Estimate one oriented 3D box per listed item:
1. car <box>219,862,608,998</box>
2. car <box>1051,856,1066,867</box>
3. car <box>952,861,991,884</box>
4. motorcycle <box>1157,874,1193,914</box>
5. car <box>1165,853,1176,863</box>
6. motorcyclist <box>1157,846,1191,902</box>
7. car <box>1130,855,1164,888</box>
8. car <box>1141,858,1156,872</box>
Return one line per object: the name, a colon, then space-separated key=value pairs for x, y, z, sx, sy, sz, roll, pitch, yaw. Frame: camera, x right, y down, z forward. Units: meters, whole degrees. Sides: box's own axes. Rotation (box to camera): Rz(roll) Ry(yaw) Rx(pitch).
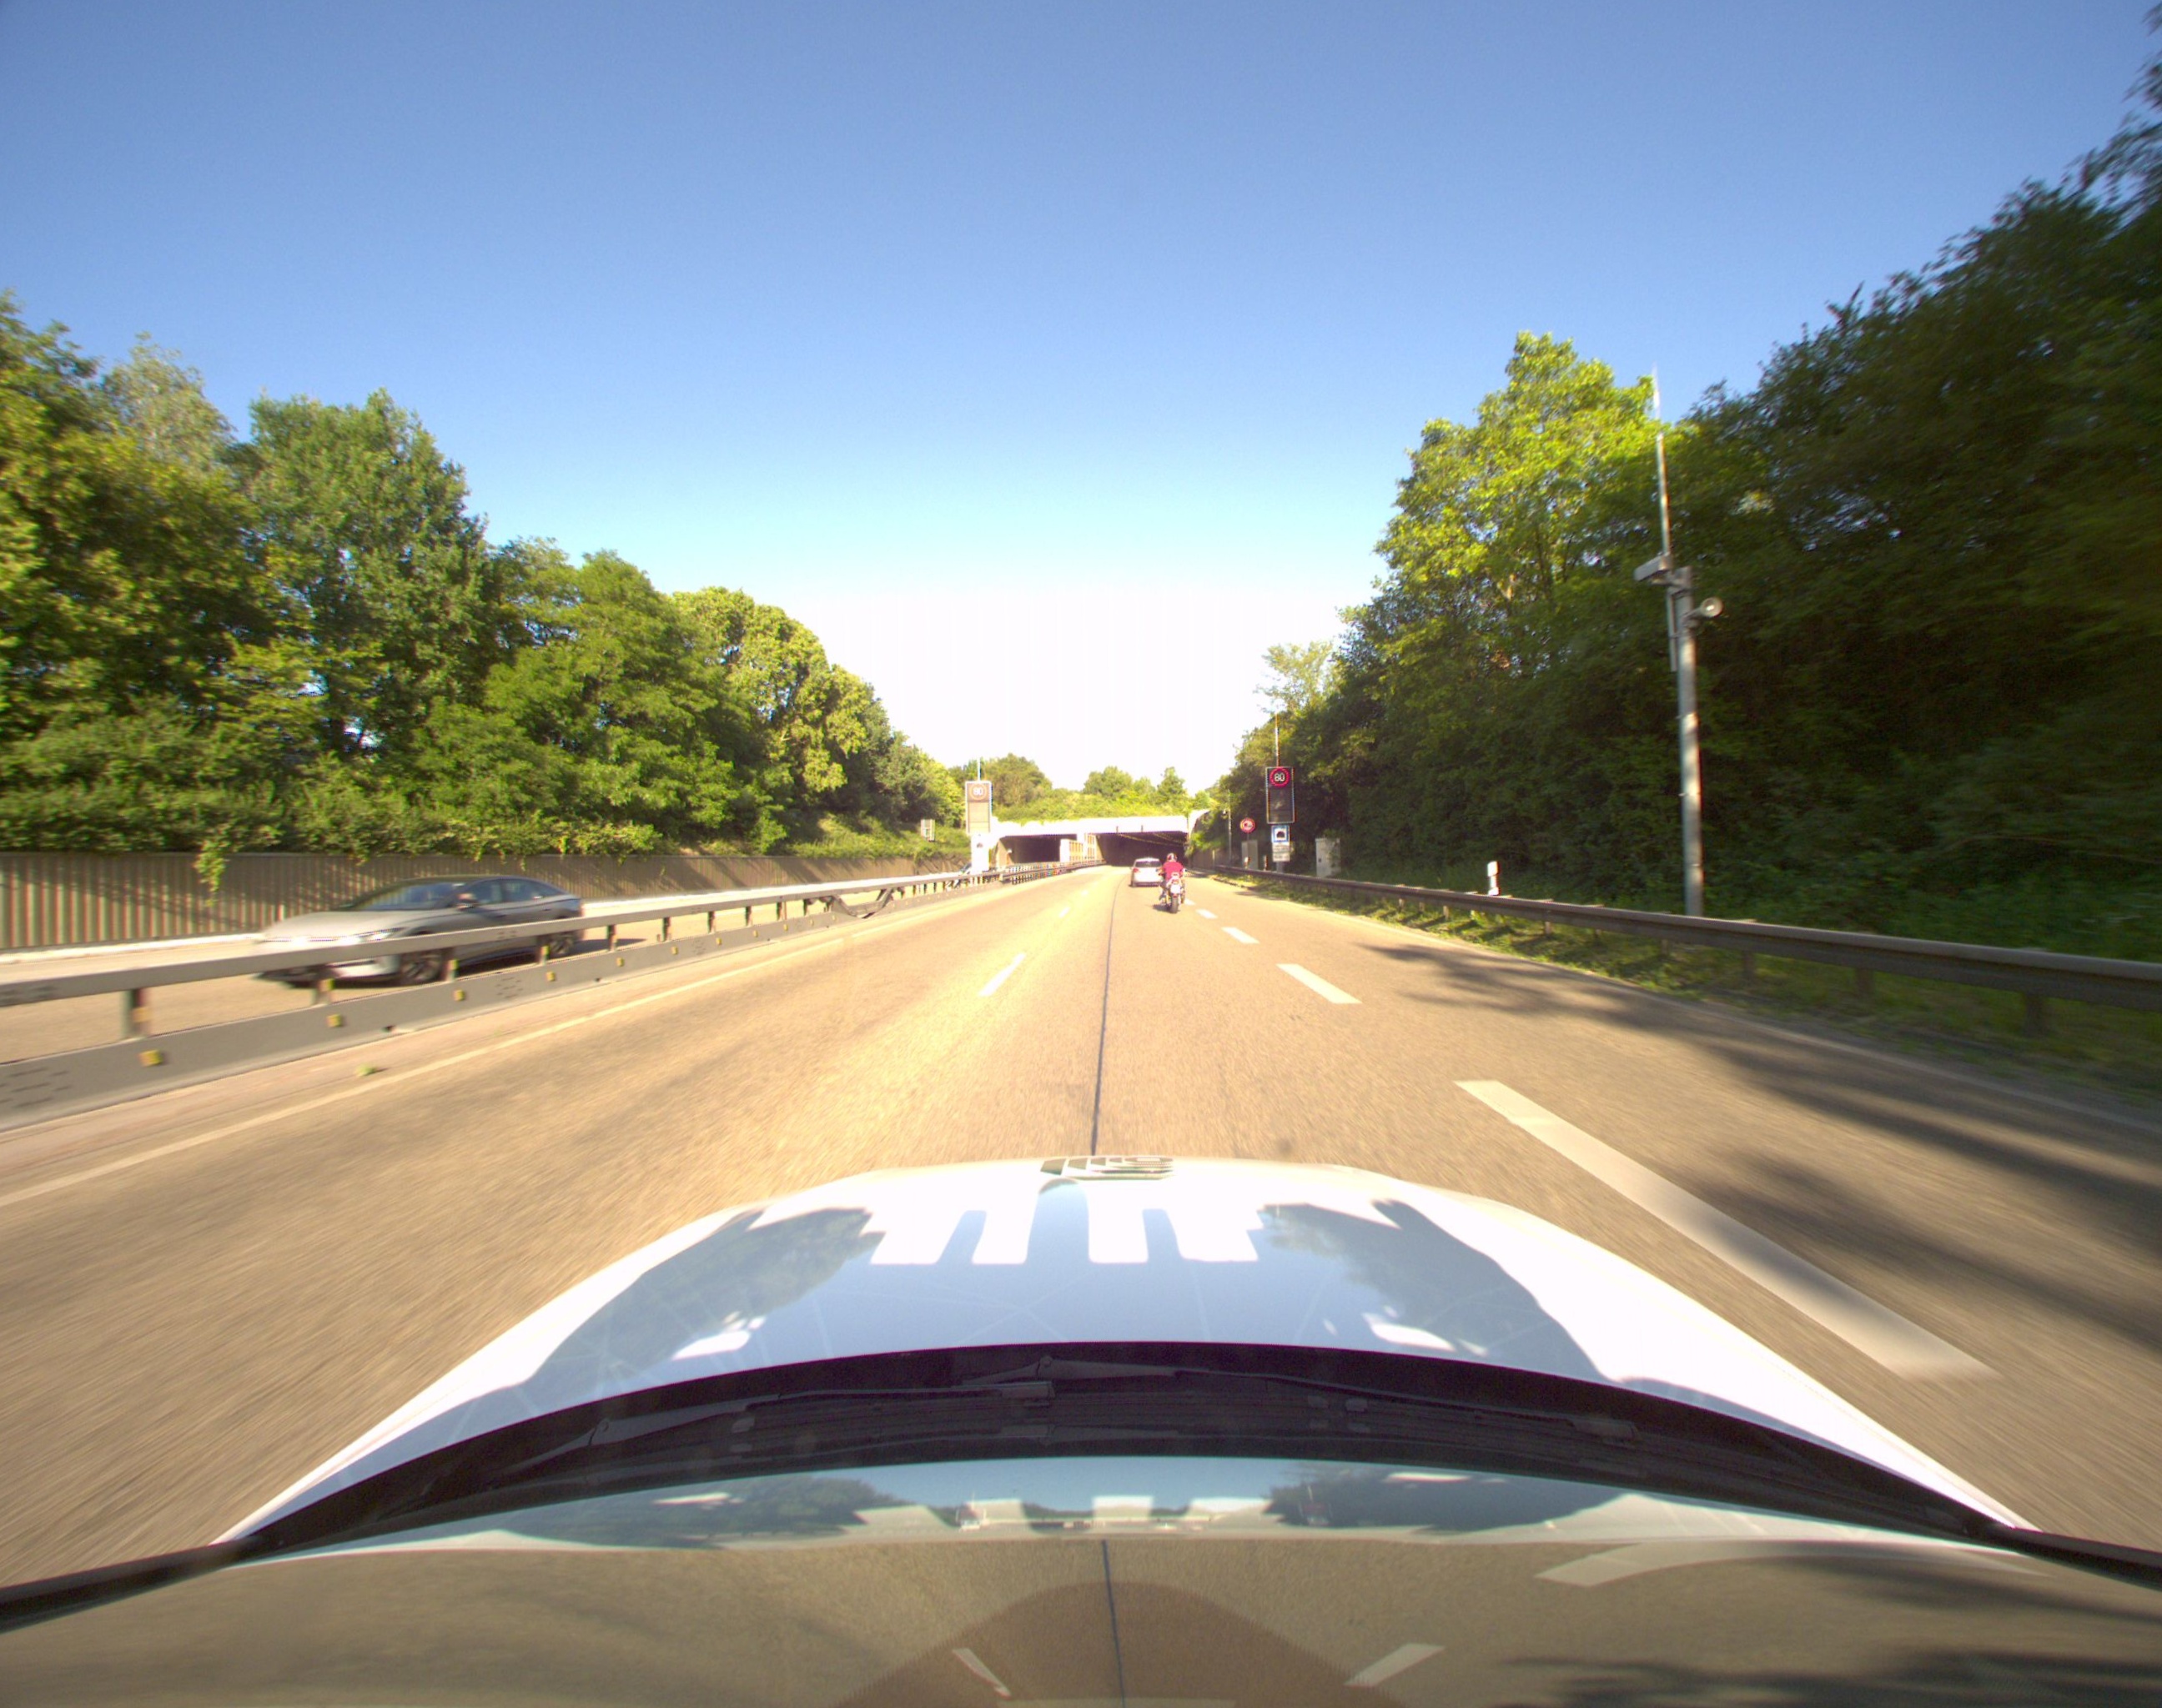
car: x=-10.199 y=1.018 z=13.154 sx=1.985 sy=1.658 sz=4.944 roll=0 pitch=1 yaw=4
car: x=-3.532 y=1.197 z=127.874 sx=1.658 sy=1.675 sz=4.872 roll=0 pitch=1 yaw=7
car: x=-7.884 y=1.296 z=59.014 sx=1.985 sy=1.486 sz=4.204 roll=-1 pitch=1 yaw=4
motorcycle: x=2.587 y=1.083 z=22.682 sx=0.855 sy=0.991 sz=2.731 roll=0 pitch=0 yaw=3
car: x=17.801 y=0.837 z=162.484 sx=1.982 sy=1.925 sz=4.009 roll=-1 pitch=0 yaw=8
motorcyclist: x=2.569 y=0.534 z=22.674 sx=0.879 sy=1.501 sz=1.064 roll=0 pitch=0 yaw=3
car: x=3.412 y=0.877 z=42.712 sx=1.660 sy=1.552 sz=4.004 roll=0 pitch=1 yaw=3
car: x=9.906 y=1.611 z=119.321 sx=1.986 sy=1.925 sz=4.001 roll=-1 pitch=0 yaw=1
